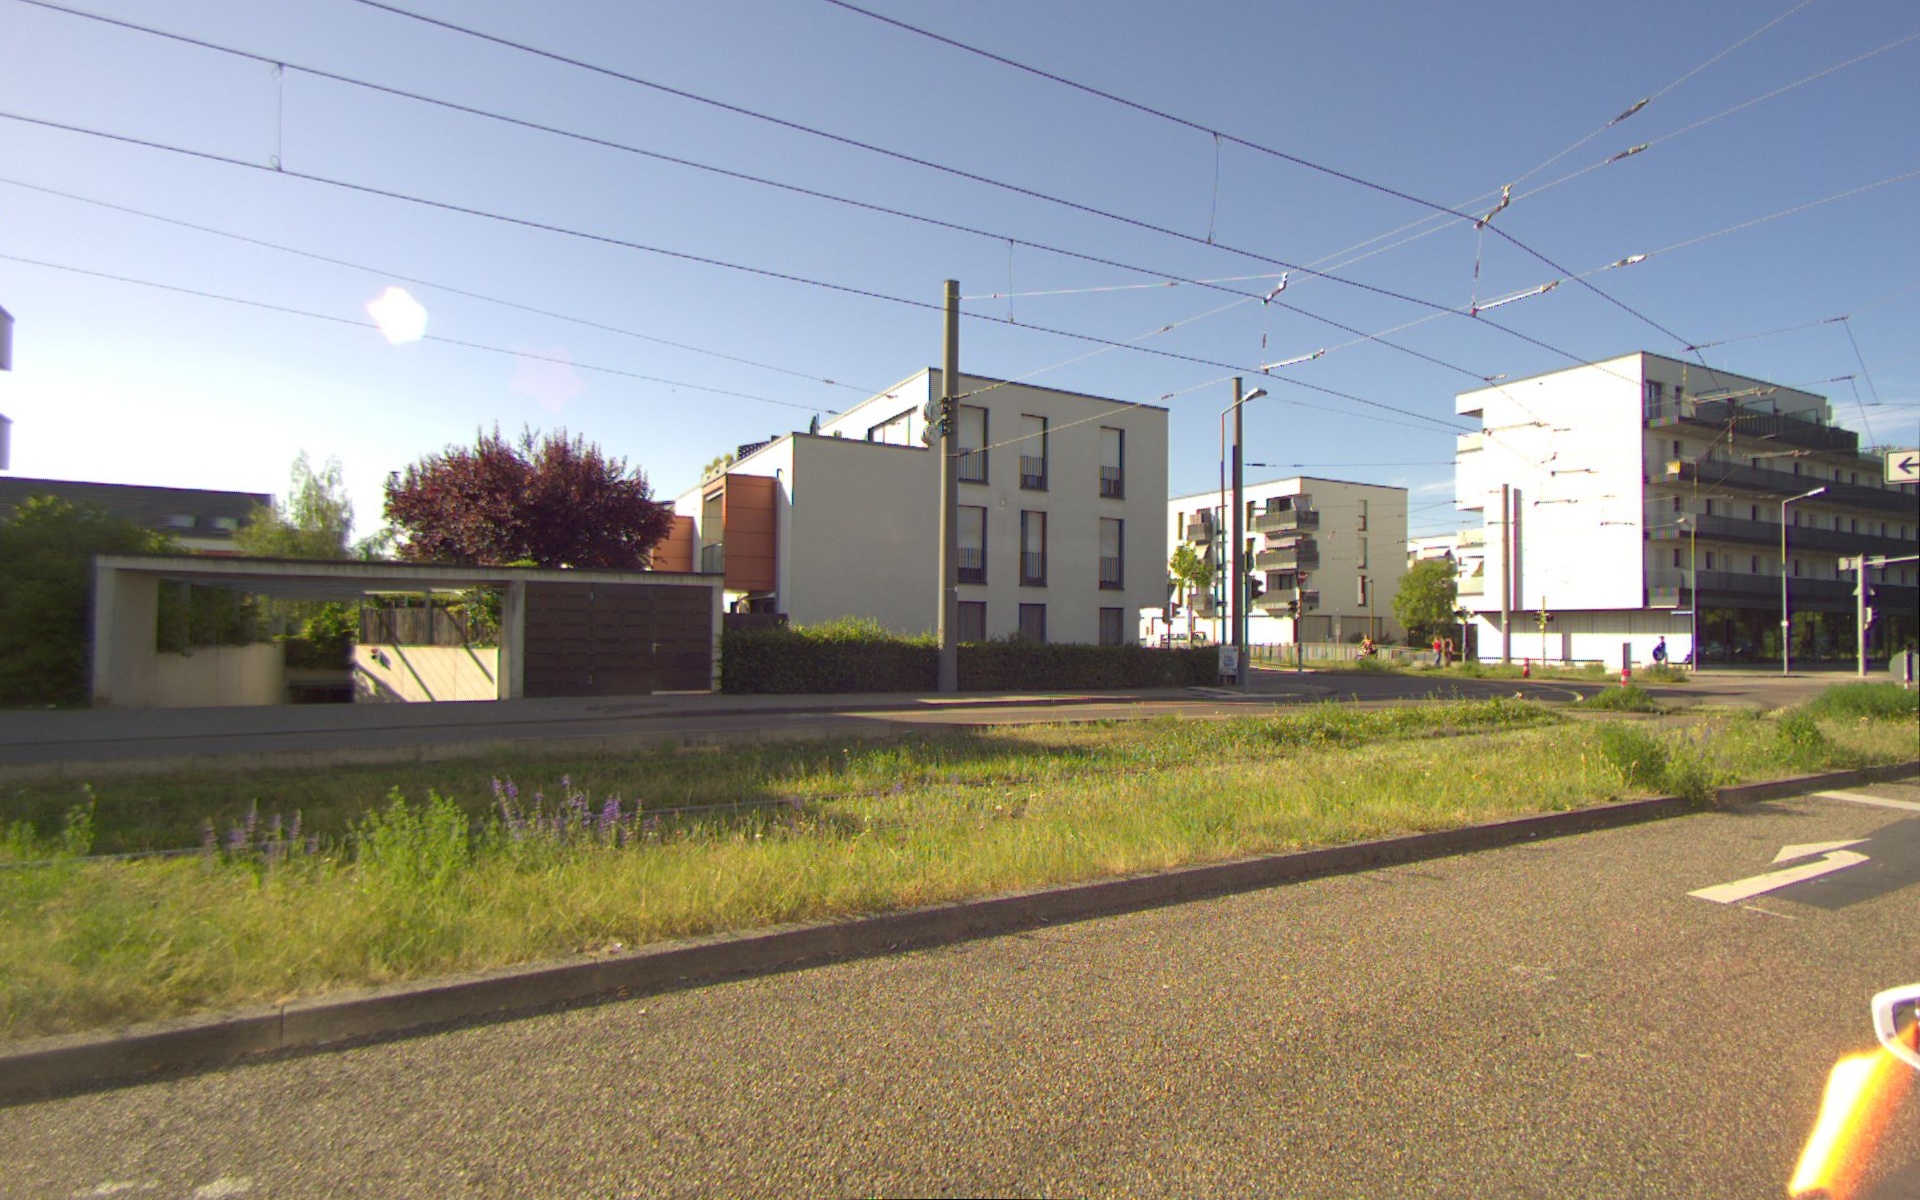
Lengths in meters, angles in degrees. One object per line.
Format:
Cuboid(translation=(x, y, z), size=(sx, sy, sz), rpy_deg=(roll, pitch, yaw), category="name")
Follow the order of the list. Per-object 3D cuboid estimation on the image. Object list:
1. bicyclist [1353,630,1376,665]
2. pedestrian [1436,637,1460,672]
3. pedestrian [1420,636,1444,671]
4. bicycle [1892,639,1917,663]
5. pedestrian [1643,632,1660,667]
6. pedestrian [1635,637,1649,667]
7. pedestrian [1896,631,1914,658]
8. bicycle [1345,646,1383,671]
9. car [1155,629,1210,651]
Cuboid(translation=(19.384, 2.271, 48.143), size=(0.634, 1.635, 0.777), rpy_deg=(2, 0, -34), category="bicyclist")
Cuboid(translation=(23.403, 2.614, 48.180), size=(0.736, 1.626, 0.765), rpy_deg=(2, 0, -37), category="pedestrian")
Cuboid(translation=(22.980, 2.604, 48.899), size=(0.736, 1.626, 0.765), rpy_deg=(2, 0, -37), category="pedestrian")
Cuboid(translation=(54.977, 2.937, 58.462), size=(1.893, 1.350, 0.626), rpy_deg=(2, 0, -34), category="bicycle")
Cuboid(translation=(35.748, 2.572, 51.904), size=(0.513, 1.767, 0.539), rpy_deg=(2, 0, -35), category="pedestrian")
Cuboid(translation=(35.173, 2.675, 51.798), size=(0.513, 1.523, 0.438), rpy_deg=(2, 0, -35), category="pedestrian")
Cuboid(translation=(55.017, 2.577, 58.468), size=(0.590, 1.529, 0.638), rpy_deg=(2, 0, -35), category="pedestrian")
Cuboid(translation=(19.362, 2.810, 48.139), size=(1.843, 1.139, 0.814), rpy_deg=(2, 0, -36), category="bicycle")
Cuboid(translation=(17.769, 3.180, 80.333), size=(1.974, 1.595, 4.309), rpy_deg=(2, 0, -27), category="car")
